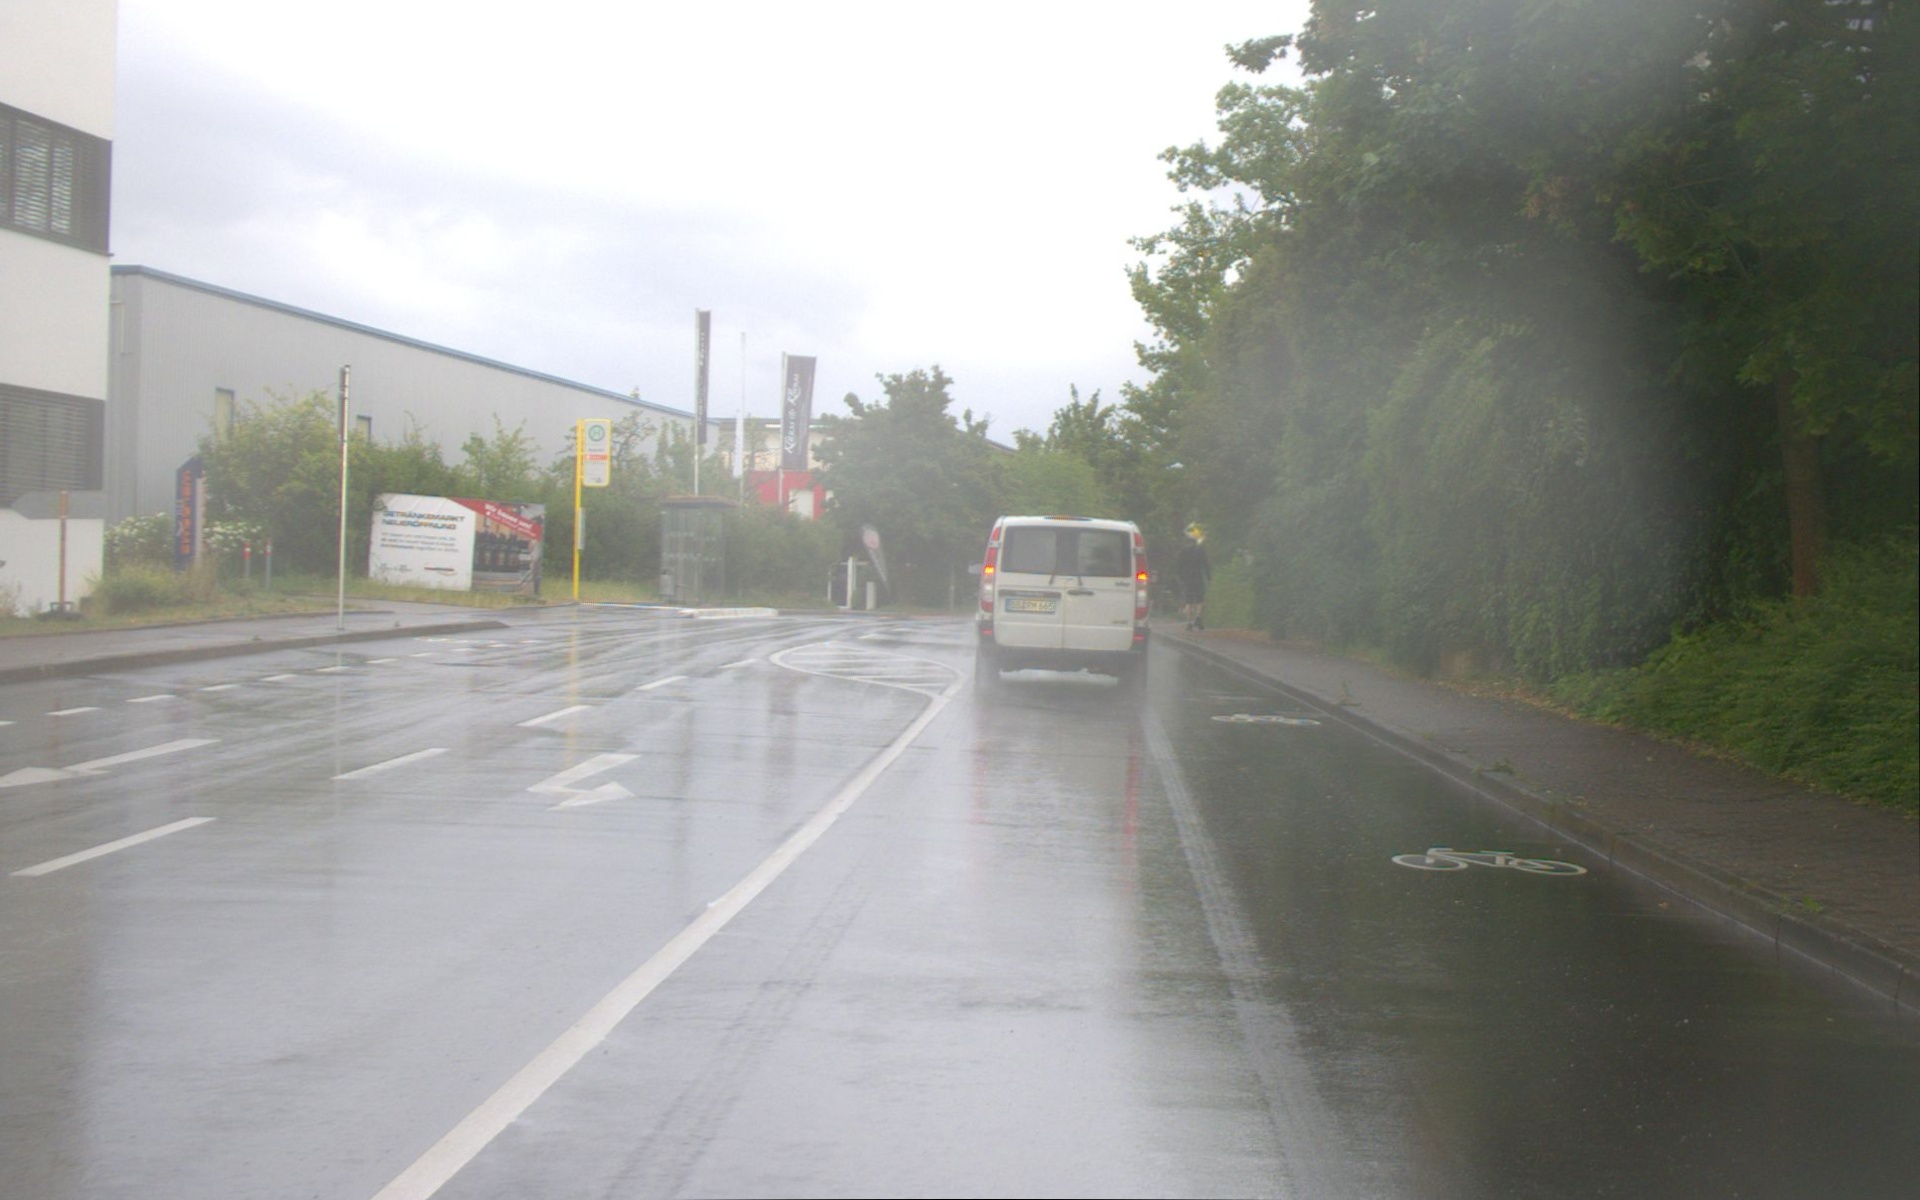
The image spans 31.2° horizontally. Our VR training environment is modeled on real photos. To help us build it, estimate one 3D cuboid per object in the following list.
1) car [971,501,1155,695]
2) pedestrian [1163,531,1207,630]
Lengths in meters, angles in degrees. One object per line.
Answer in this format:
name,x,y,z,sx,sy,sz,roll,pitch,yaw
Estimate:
car,1.177,-0.052,38.744,1.899,2.011,5.372,-1,1,2
pedestrian,4.374,-0.376,66.918,0.777,1.900,0.728,-1,-1,1
